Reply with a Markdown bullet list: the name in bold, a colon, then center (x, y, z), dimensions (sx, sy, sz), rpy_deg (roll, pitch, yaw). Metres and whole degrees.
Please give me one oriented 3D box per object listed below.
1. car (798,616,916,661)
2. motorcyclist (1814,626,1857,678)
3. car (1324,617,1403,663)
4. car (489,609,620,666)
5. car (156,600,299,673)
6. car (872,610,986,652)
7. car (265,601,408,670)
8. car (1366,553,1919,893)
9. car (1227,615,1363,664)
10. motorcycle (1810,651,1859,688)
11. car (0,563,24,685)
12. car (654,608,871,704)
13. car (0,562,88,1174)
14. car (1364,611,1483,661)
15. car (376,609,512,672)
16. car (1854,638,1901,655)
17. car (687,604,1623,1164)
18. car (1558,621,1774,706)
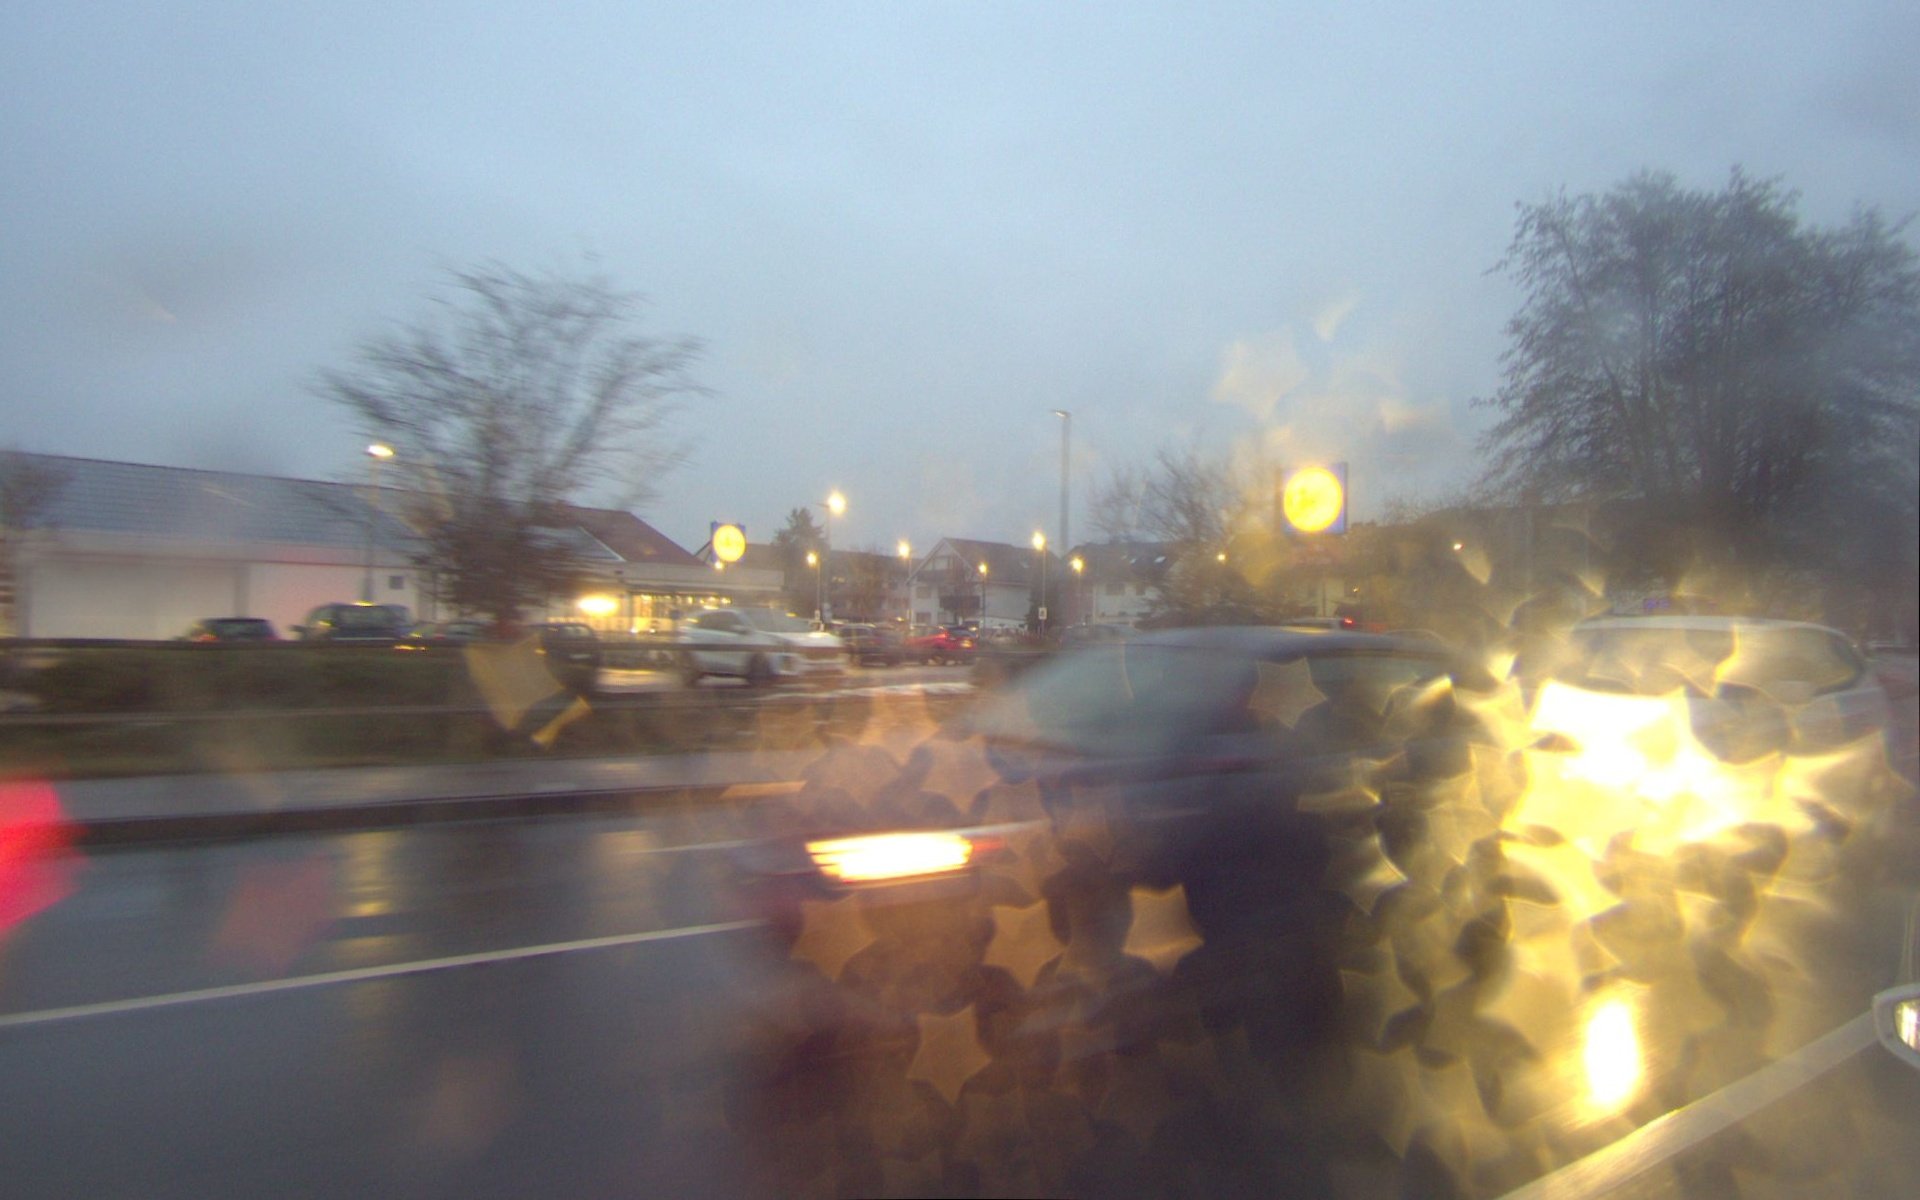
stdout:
- **car**: center (-3.891, 1.424, 37.419), dimensions (4.384, 1.584, 2.043), rpy_deg (-2, -2, 44)
- **motorcyclist**: center (26.130, 1.542, 29.990), dimensions (0.902, 1.505, 0.858), rpy_deg (3, -1, -42)
- **car**: center (22.782, 2.192, 56.627), dimensions (2.257, 2.309, 5.235), rpy_deg (2, 1, 45)
- **car**: center (-12.165, 1.109, 30.027), dimensions (4.384, 1.584, 2.043), rpy_deg (-2, -2, 44)
- **car**: center (-17.639, 0.881, 24.123), dimensions (4.384, 1.584, 2.043), rpy_deg (-2, -2, 44)
- **car**: center (-1.263, 1.234, 39.780), dimensions (4.384, 1.584, 2.043), rpy_deg (-2, -2, 44)
- **car**: center (-15.770, 0.882, 25.315), dimensions (4.384, 1.584, 2.043), rpy_deg (-2, -2, 44)
- **car**: center (4.985, 0.694, 7.127), dimensions (4.375, 1.746, 1.761), rpy_deg (2, -1, -34)
- **car**: center (12.303, 1.403, 37.019), dimensions (4.355, 1.694, 1.959), rpy_deg (0, -1, 41)
- **motorcycle**: center (26.147, 2.053, 30.020), dimensions (2.094, 1.037, 0.857), rpy_deg (3, -1, -42)
- **car**: center (-20.642, 0.520, 20.322), dimensions (5.131, 2.313, 2.206), rpy_deg (-2, -2, 44)
- **car**: center (-4.160, 1.060, 20.663), dimensions (4.718, 1.734, 2.022), rpy_deg (0, -2, 43)
- **car**: center (-3.947, 0.594, 1.267), dimensions (3.949, 1.505, 1.657), rpy_deg (2, -1, -27)
- **car**: center (21.254, 1.597, 46.130), dimensions (4.588, 2.003, 2.119), rpy_deg (2, 1, 39)
- **car**: center (-14.270, 1.103, 27.675), dimensions (4.384, 1.584, 2.043), rpy_deg (-2, -2, 44)
- **car**: center (117.745, 5.931, 128.945), dimensions (4.192, 2.040, 1.804), rpy_deg (-1, -2, 36)
- **car**: center (1.009, 0.828, 4.525), dimensions (3.996, 1.515, 1.763), rpy_deg (2, -1, -31)
- **car**: center (17.695, 1.526, 25.280), dimensions (4.179, 1.722, 1.890), rpy_deg (4, 1, 42)
